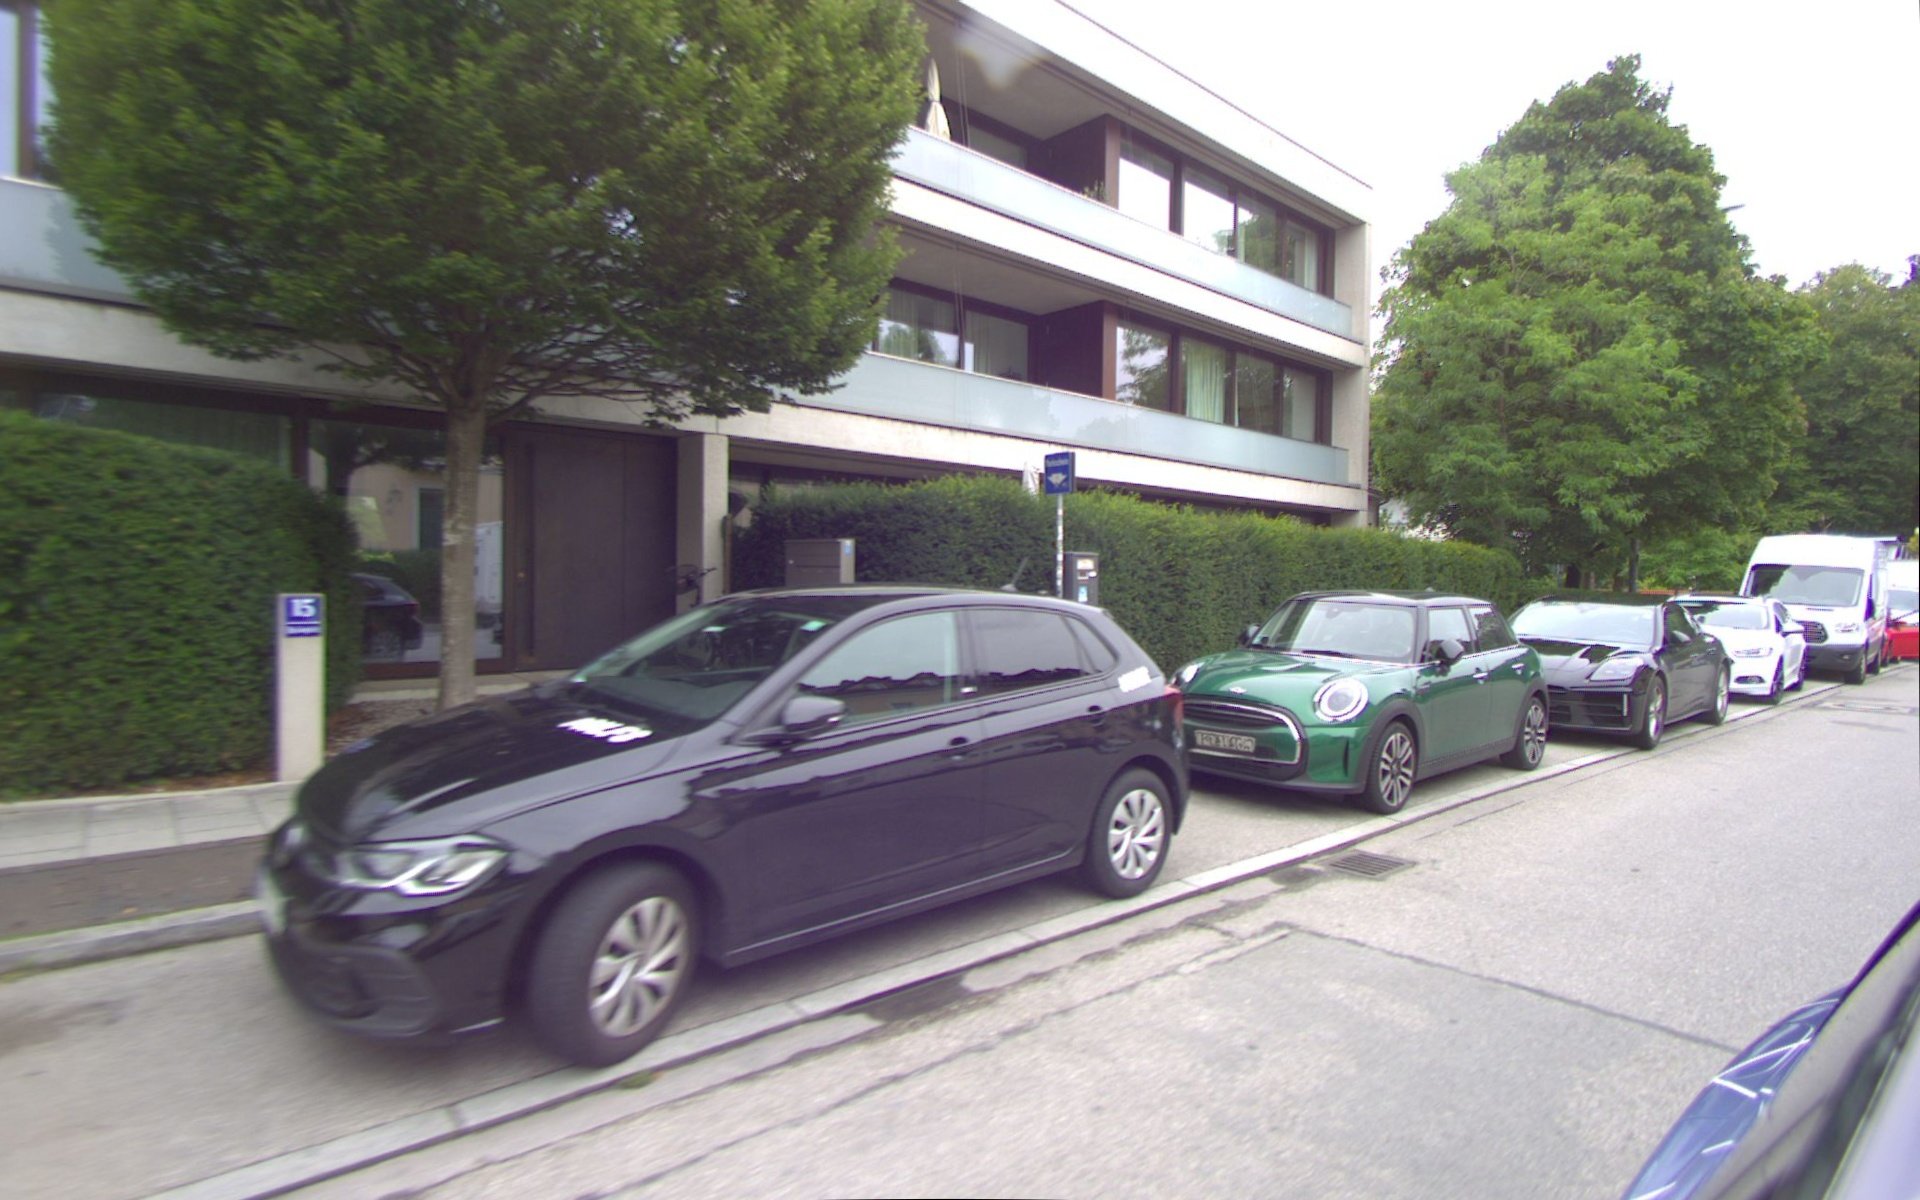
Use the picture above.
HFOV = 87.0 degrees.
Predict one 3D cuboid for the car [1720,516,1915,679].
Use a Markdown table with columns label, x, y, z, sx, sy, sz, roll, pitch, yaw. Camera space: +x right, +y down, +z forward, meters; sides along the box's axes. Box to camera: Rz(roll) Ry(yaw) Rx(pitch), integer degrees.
| label | x | y | z | sx | sy | sz | roll | pitch | yaw |
| --- | --- | --- | --- | --- | --- | --- | --- | --- | --- |
| car | 16.892 | -0.066 | 19.800 | 5.985 | 2.719 | 2.083 | 1 | 3 | -43 |

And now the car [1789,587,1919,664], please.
| label | x | y | z | sx | sy | sz | roll | pitch | yaw |
| --- | --- | --- | --- | --- | --- | --- | --- | --- | --- |
| car | 21.332 | 0.563 | 24.007 | 4.756 | 1.525 | 1.874 | 1 | 4 | -43 |

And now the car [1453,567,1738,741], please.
| label | x | y | z | sx | sy | sz | roll | pitch | yaw |
| --- | --- | --- | --- | --- | --- | --- | --- | --- | --- |
| car | 7.346 | 0.507 | 11.425 | 5.117 | 1.524 | 1.284 | 1 | 3 | -42 |

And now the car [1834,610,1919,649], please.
| label | x | y | z | sx | sy | sz | roll | pitch | yaw |
| --- | --- | --- | --- | --- | --- | --- | --- | --- | --- |
| car | 38.511 | 1.206 | 41.302 | 1.902 | 1.465 | 4.019 | 3 | -1 | -7 |

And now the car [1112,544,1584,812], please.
| label | x | y | z | sx | sy | sz | roll | pitch | yaw |
| --- | --- | --- | --- | --- | --- | --- | --- | --- | --- |
| car | 3.234 | 0.438 | 8.000 | 4.132 | 1.547 | 1.730 | 1 | 3 | -42 |

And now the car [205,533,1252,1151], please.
| label | x | y | z | sx | sy | sz | roll | pitch | yaw |
| --- | --- | --- | --- | --- | --- | --- | --- | --- | --- |
| car | -0.651 | 0.546 | 4.467 | 4.169 | 1.482 | 1.751 | 0 | 2 | -42 |

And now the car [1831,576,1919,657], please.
| label | x | y | z | sx | sy | sz | roll | pitch | yaw |
| --- | --- | --- | --- | --- | --- | --- | --- | --- | --- |
| car | 25.308 | 0.434 | 27.274 | 4.982 | 1.928 | 1.940 | 1 | 3 | -41 |

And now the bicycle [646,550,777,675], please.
| label | x | y | z | sx | sy | sz | roll | pitch | yaw |
| --- | --- | --- | --- | --- | --- | --- | --- | --- | --- |
| bicycle | -2.778 | 0.098 | 11.189 | 0.546 | 1.233 | 1.787 | 0 | 3 | -45 |

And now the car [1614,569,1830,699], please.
| label | x | y | z | sx | sy | sz | roll | pitch | yaw |
| --- | --- | --- | --- | --- | --- | --- | --- | --- | --- |
| car | 11.781 | 0.449 | 15.505 | 4.919 | 1.588 | 1.873 | 1 | 3 | -45 |
